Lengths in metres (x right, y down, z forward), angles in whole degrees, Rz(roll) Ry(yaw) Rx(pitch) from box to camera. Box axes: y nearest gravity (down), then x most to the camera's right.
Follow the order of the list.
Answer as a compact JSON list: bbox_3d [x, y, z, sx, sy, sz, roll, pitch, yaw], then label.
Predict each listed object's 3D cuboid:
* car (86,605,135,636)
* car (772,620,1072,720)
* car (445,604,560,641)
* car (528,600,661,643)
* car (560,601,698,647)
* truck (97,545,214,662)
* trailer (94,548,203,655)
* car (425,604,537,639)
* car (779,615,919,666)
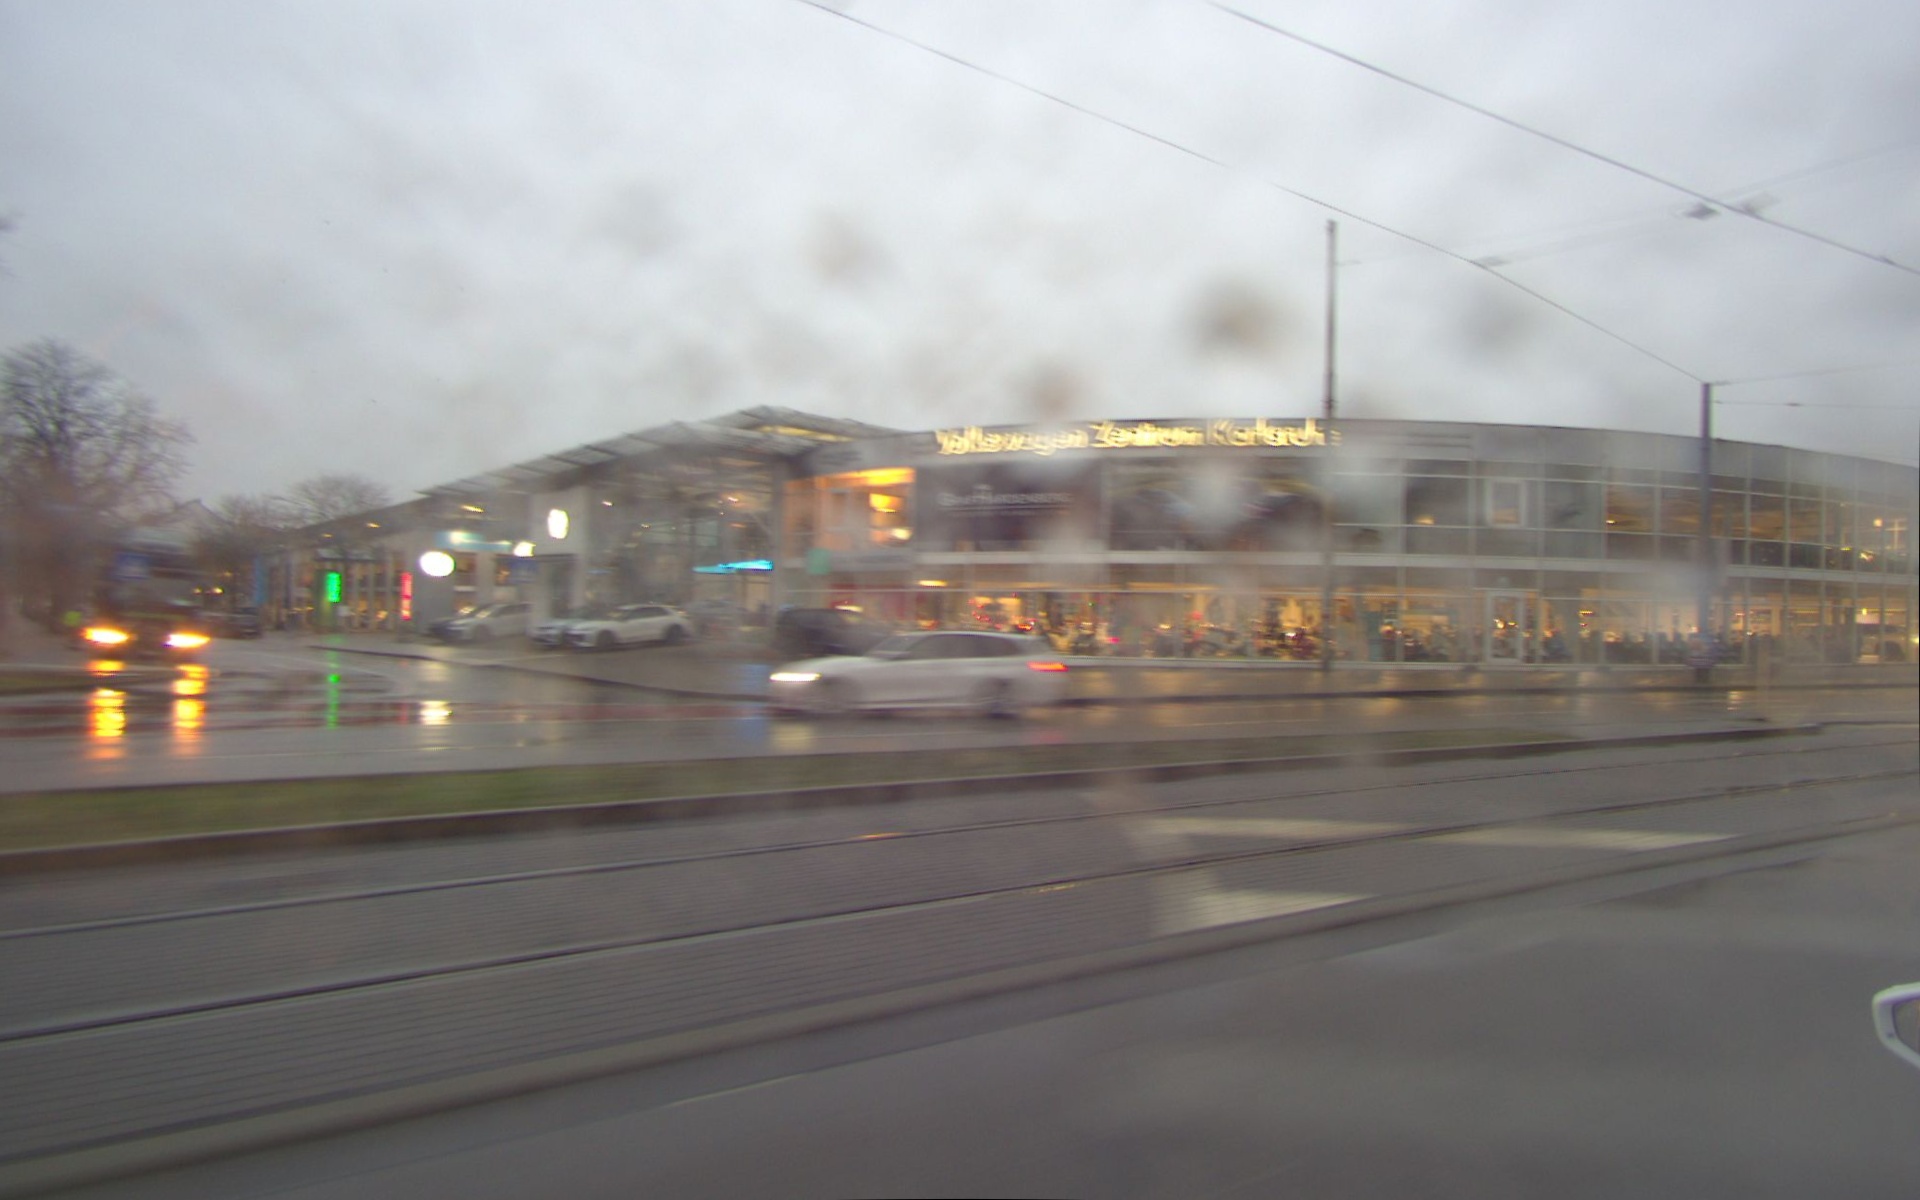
[{"bbox_3d":[-47.522,1.143,56.159,1.985,1.684,3.951,2,-1,-42],"label":"car"},{"bbox_3d":[-0.673,1.139,16.817,4.721,1.517,1.998,1,-1,-7],"label":"car"},{"bbox_3d":[-20.632,1.029,45.407,4.388,1.543,1.862,2,-1,-42],"label":"car"},{"bbox_3d":[-13.898,0.838,38.340,4.388,1.543,1.862,2,-1,-42],"label":"car"},{"bbox_3d":[-11.944,0.869,36.422,4.388,1.543,1.862,2,-1,-42],"label":"car"},{"bbox_3d":[-26.476,0.096,32.926,2.638,3.463,6.674,2,0,-41],"label":"truck"},{"bbox_3d":[-31.774,0.005,39.008,2.616,3.463,14.873,2,0,-41],"label":"trailer"},{"bbox_3d":[-22.459,1.030,47.192,4.388,1.543,1.862,2,-1,-42],"label":"car"},{"bbox_3d":[-3.539,1.237,31.908,4.218,1.417,1.739,1,0,31],"label":"car"}]
